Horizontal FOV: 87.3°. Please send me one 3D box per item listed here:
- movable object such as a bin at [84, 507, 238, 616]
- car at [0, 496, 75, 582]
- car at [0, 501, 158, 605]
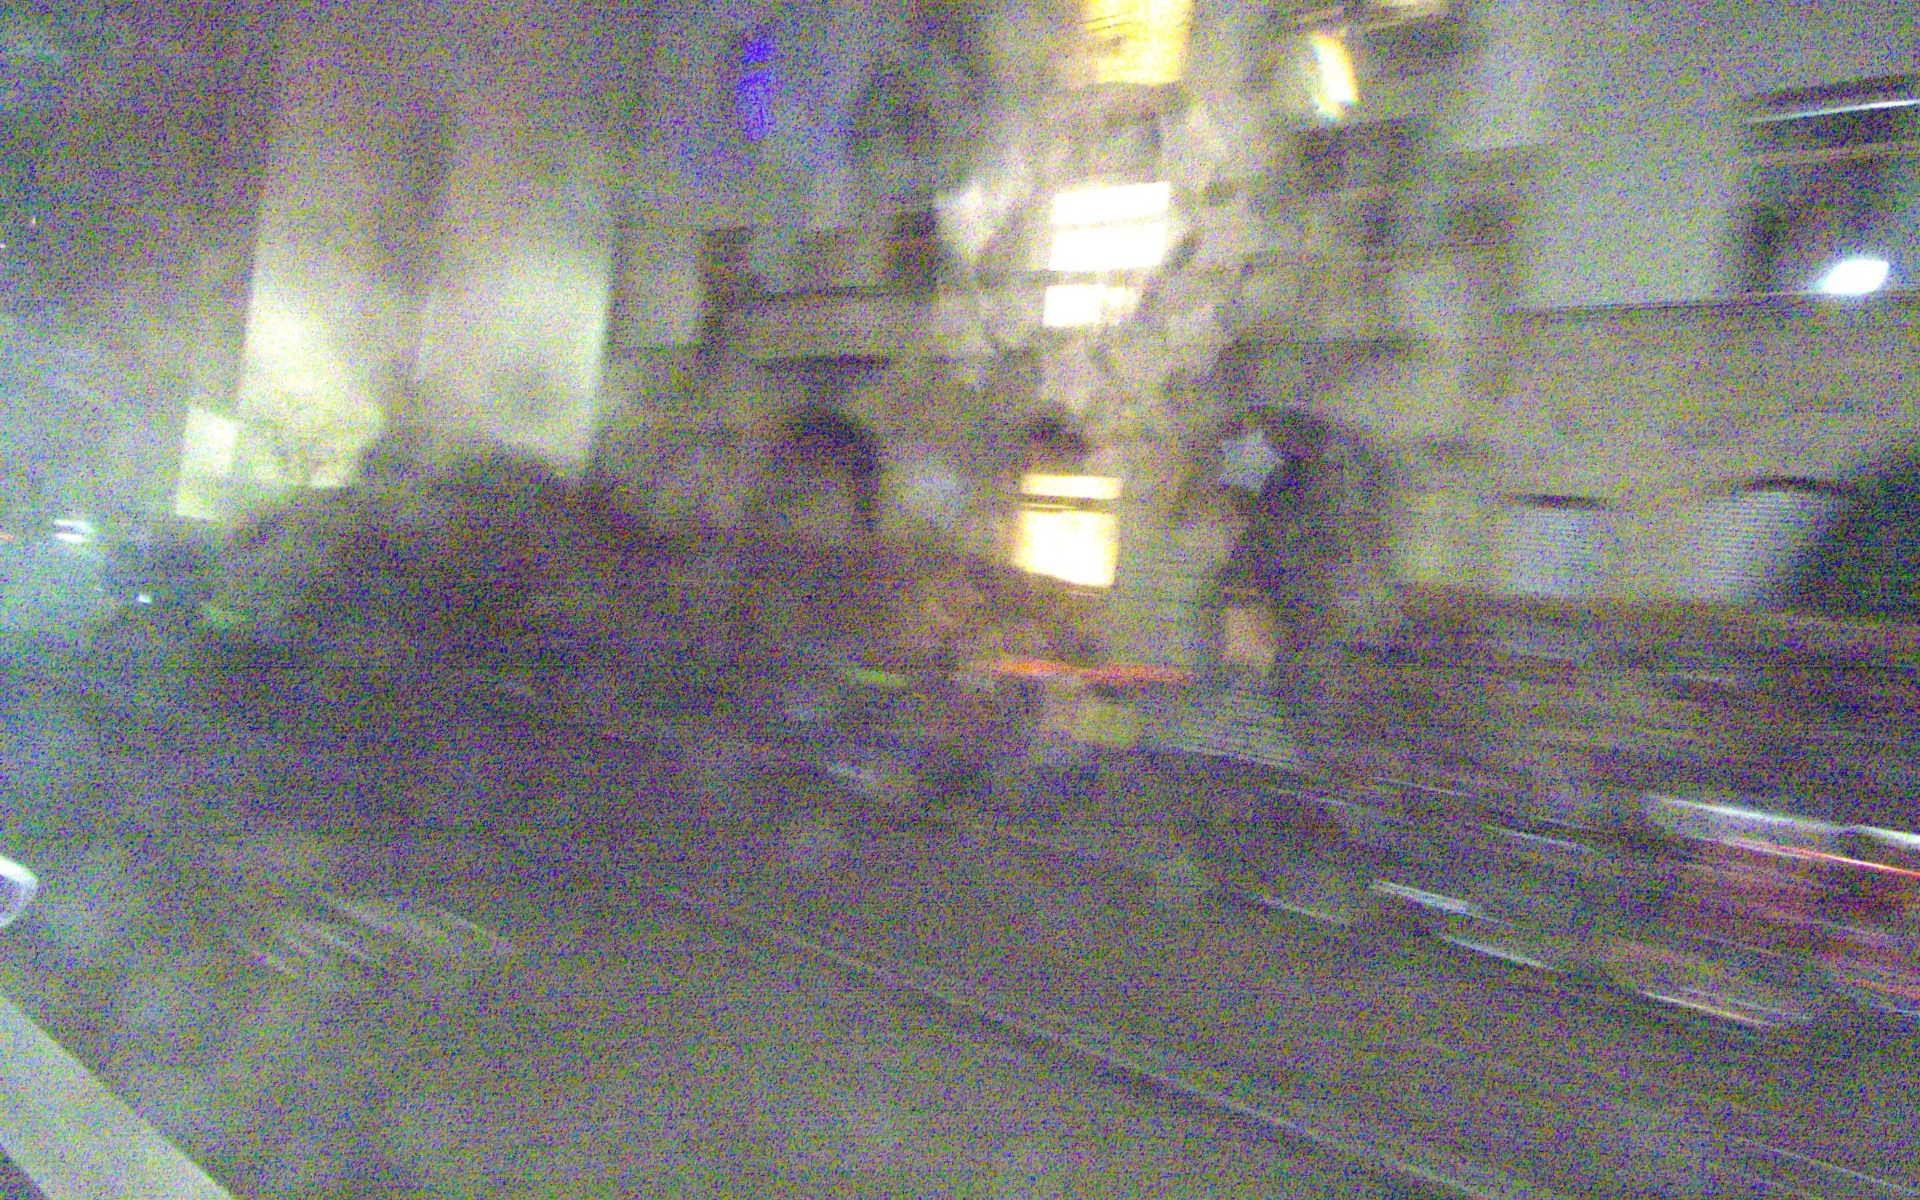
[{"bbox_3d":[-11.900,-0.545,15.043,1.007,1.424,1.353,7,0,12],"label":"movable object such as a bin"},{"bbox_3d":[-17.787,-1.189,17.631,1.780,1.506,3.844,7,-1,-16],"label":"car"},{"bbox_3d":[-15.259,-0.805,16.331,1.741,1.474,3.786,8,-3,-10],"label":"car"}]
